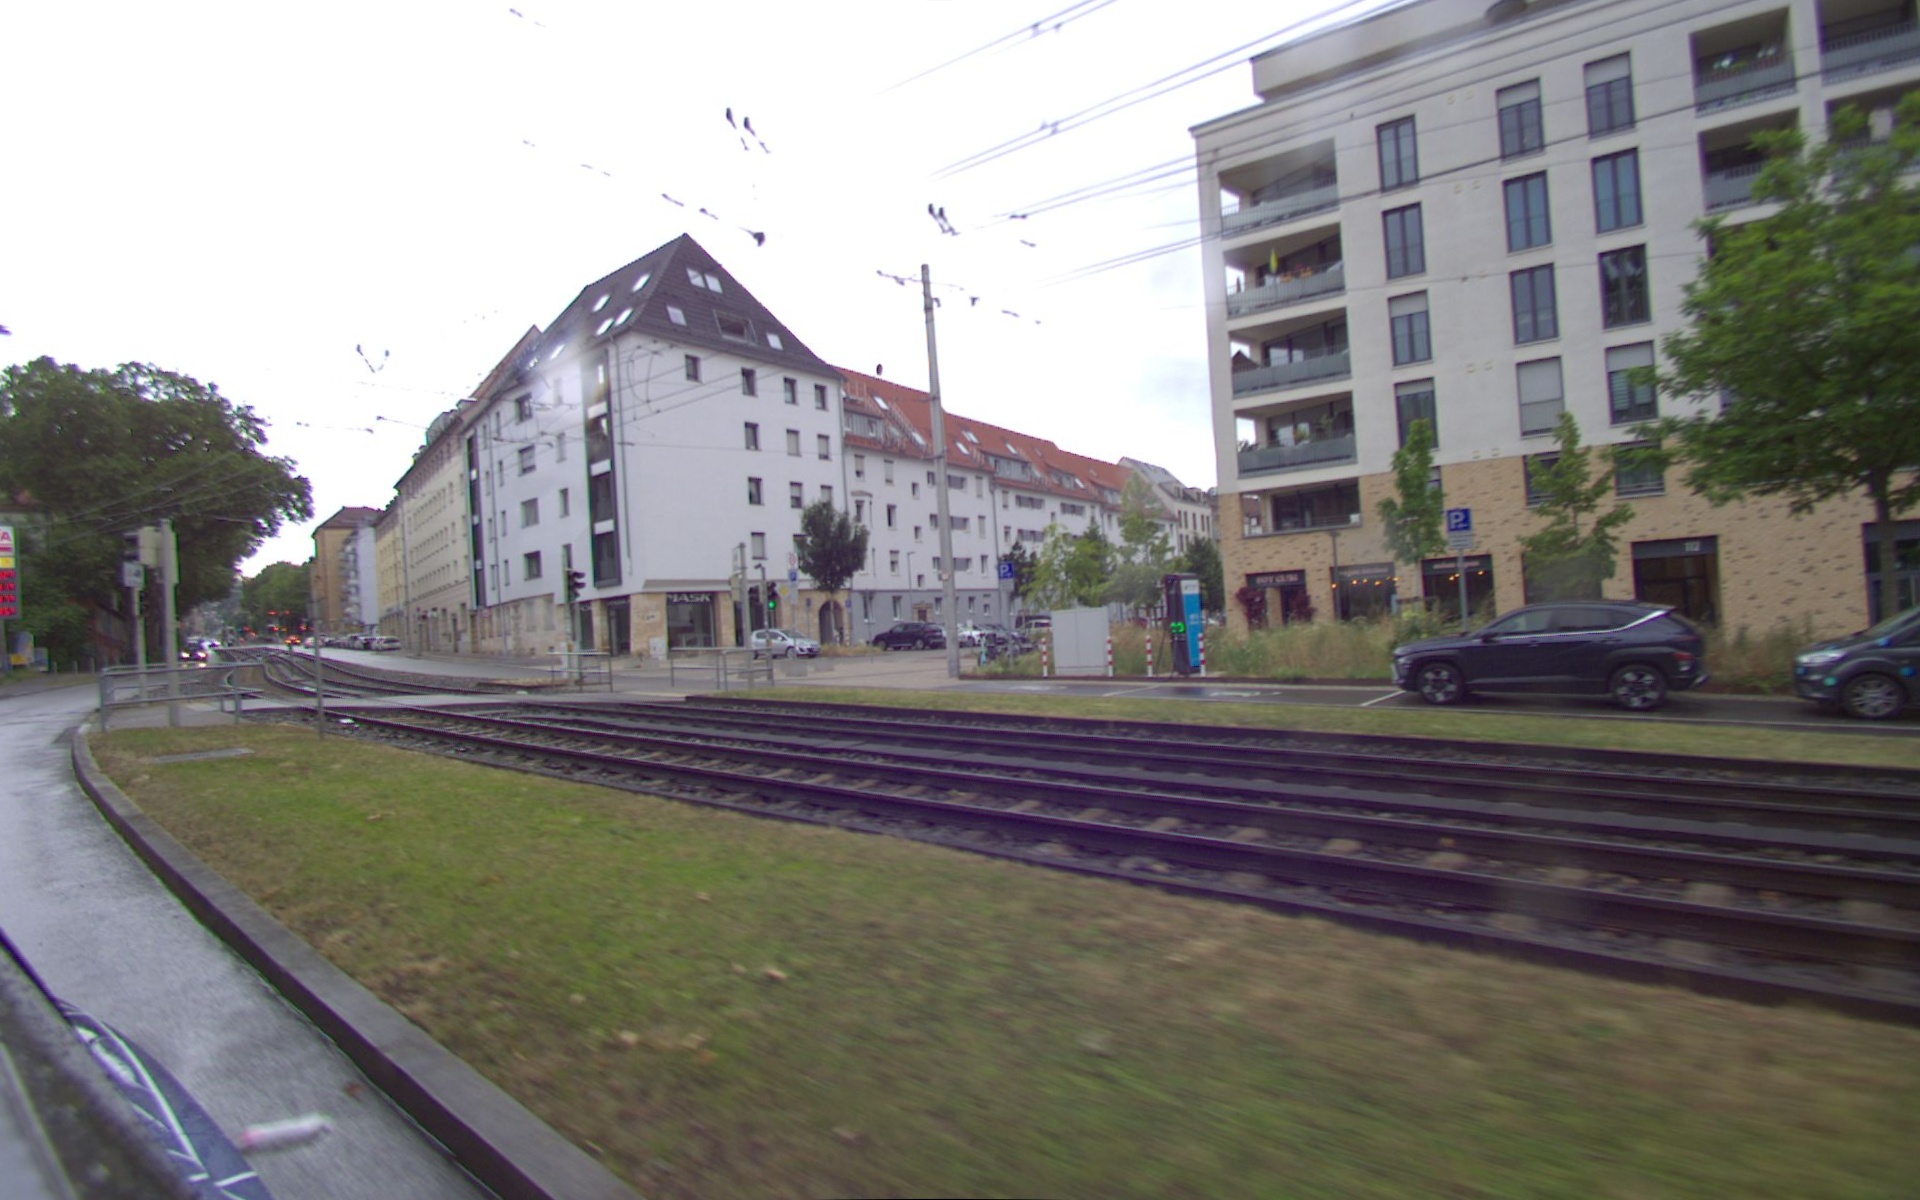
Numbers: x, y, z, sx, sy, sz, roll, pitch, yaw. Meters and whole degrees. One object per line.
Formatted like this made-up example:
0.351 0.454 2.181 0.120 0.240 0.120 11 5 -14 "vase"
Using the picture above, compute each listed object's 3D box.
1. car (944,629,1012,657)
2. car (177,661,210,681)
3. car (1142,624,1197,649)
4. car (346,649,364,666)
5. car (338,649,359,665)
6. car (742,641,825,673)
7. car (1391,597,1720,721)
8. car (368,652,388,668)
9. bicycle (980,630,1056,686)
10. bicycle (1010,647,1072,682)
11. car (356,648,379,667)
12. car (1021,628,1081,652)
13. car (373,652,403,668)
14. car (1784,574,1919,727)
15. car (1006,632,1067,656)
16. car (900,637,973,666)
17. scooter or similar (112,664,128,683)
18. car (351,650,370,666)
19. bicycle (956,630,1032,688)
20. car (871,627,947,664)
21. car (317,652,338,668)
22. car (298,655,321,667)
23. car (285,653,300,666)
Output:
1.152 2.778 65.040 3.989 1.630 1.918 -3 -3 34 "car"
-64.227 5.920 84.896 1.859 1.502 3.860 0 -2 -32 "car"
18.279 3.212 88.568 4.325 2.029 1.821 -4 -3 42 "car"
-71.225 6.747 119.092 1.532 1.897 4.050 -1 -2 -36 "car"
-74.921 6.947 123.974 1.700 1.822 3.598 0 -2 -39 "car"
-8.538 2.775 48.862 3.902 1.431 1.584 -3 -2 31 "car"
9.293 0.873 15.927 4.209 1.616 1.975 -2 1 38 "car"
-60.650 6.229 105.406 1.306 1.495 3.197 0 -2 -39 "car"
1.715 1.722 30.380 2.361 1.608 0.668 -3 -2 44 "bicycle"
2.562 2.063 32.381 0.469 1.055 2.232 0 -3 -43 "bicycle"
-64.964 6.252 111.024 1.702 1.975 4.308 -1 -2 -37 "car"
6.718 2.988 74.800 3.989 1.630 1.918 -3 -3 34 "car"
-57.701 6.014 102.062 1.999 1.554 4.007 0 -2 -39 "car"
13.135 0.584 12.602 4.326 1.873 1.567 -2 0 37 "car"
5.500 3.169 72.847 3.990 1.630 1.918 -3 -3 35 "car"
-1.412 3.100 60.682 3.989 1.630 1.918 -3 -3 34 "car"
-56.266 4.916 67.777 0.394 1.201 1.367 -1 1 -22 "scooter or similar"
-68.427 6.565 115.439 1.356 1.766 3.412 0 -2 -39 "car"
0.974 1.725 29.598 2.361 1.608 0.668 -3 -2 44 "bicycle"
-2.948 2.643 58.343 3.989 2.029 1.918 -3 -3 34 "car"
-89.872 8.506 143.790 1.999 2.029 4.235 0 -2 -39 "car"
-88.648 8.295 137.889 1.666 1.548 5.022 0 -3 -43 "car"
-111.639 9.874 169.341 1.918 2.029 4.009 -1 -2 -36 "car"
